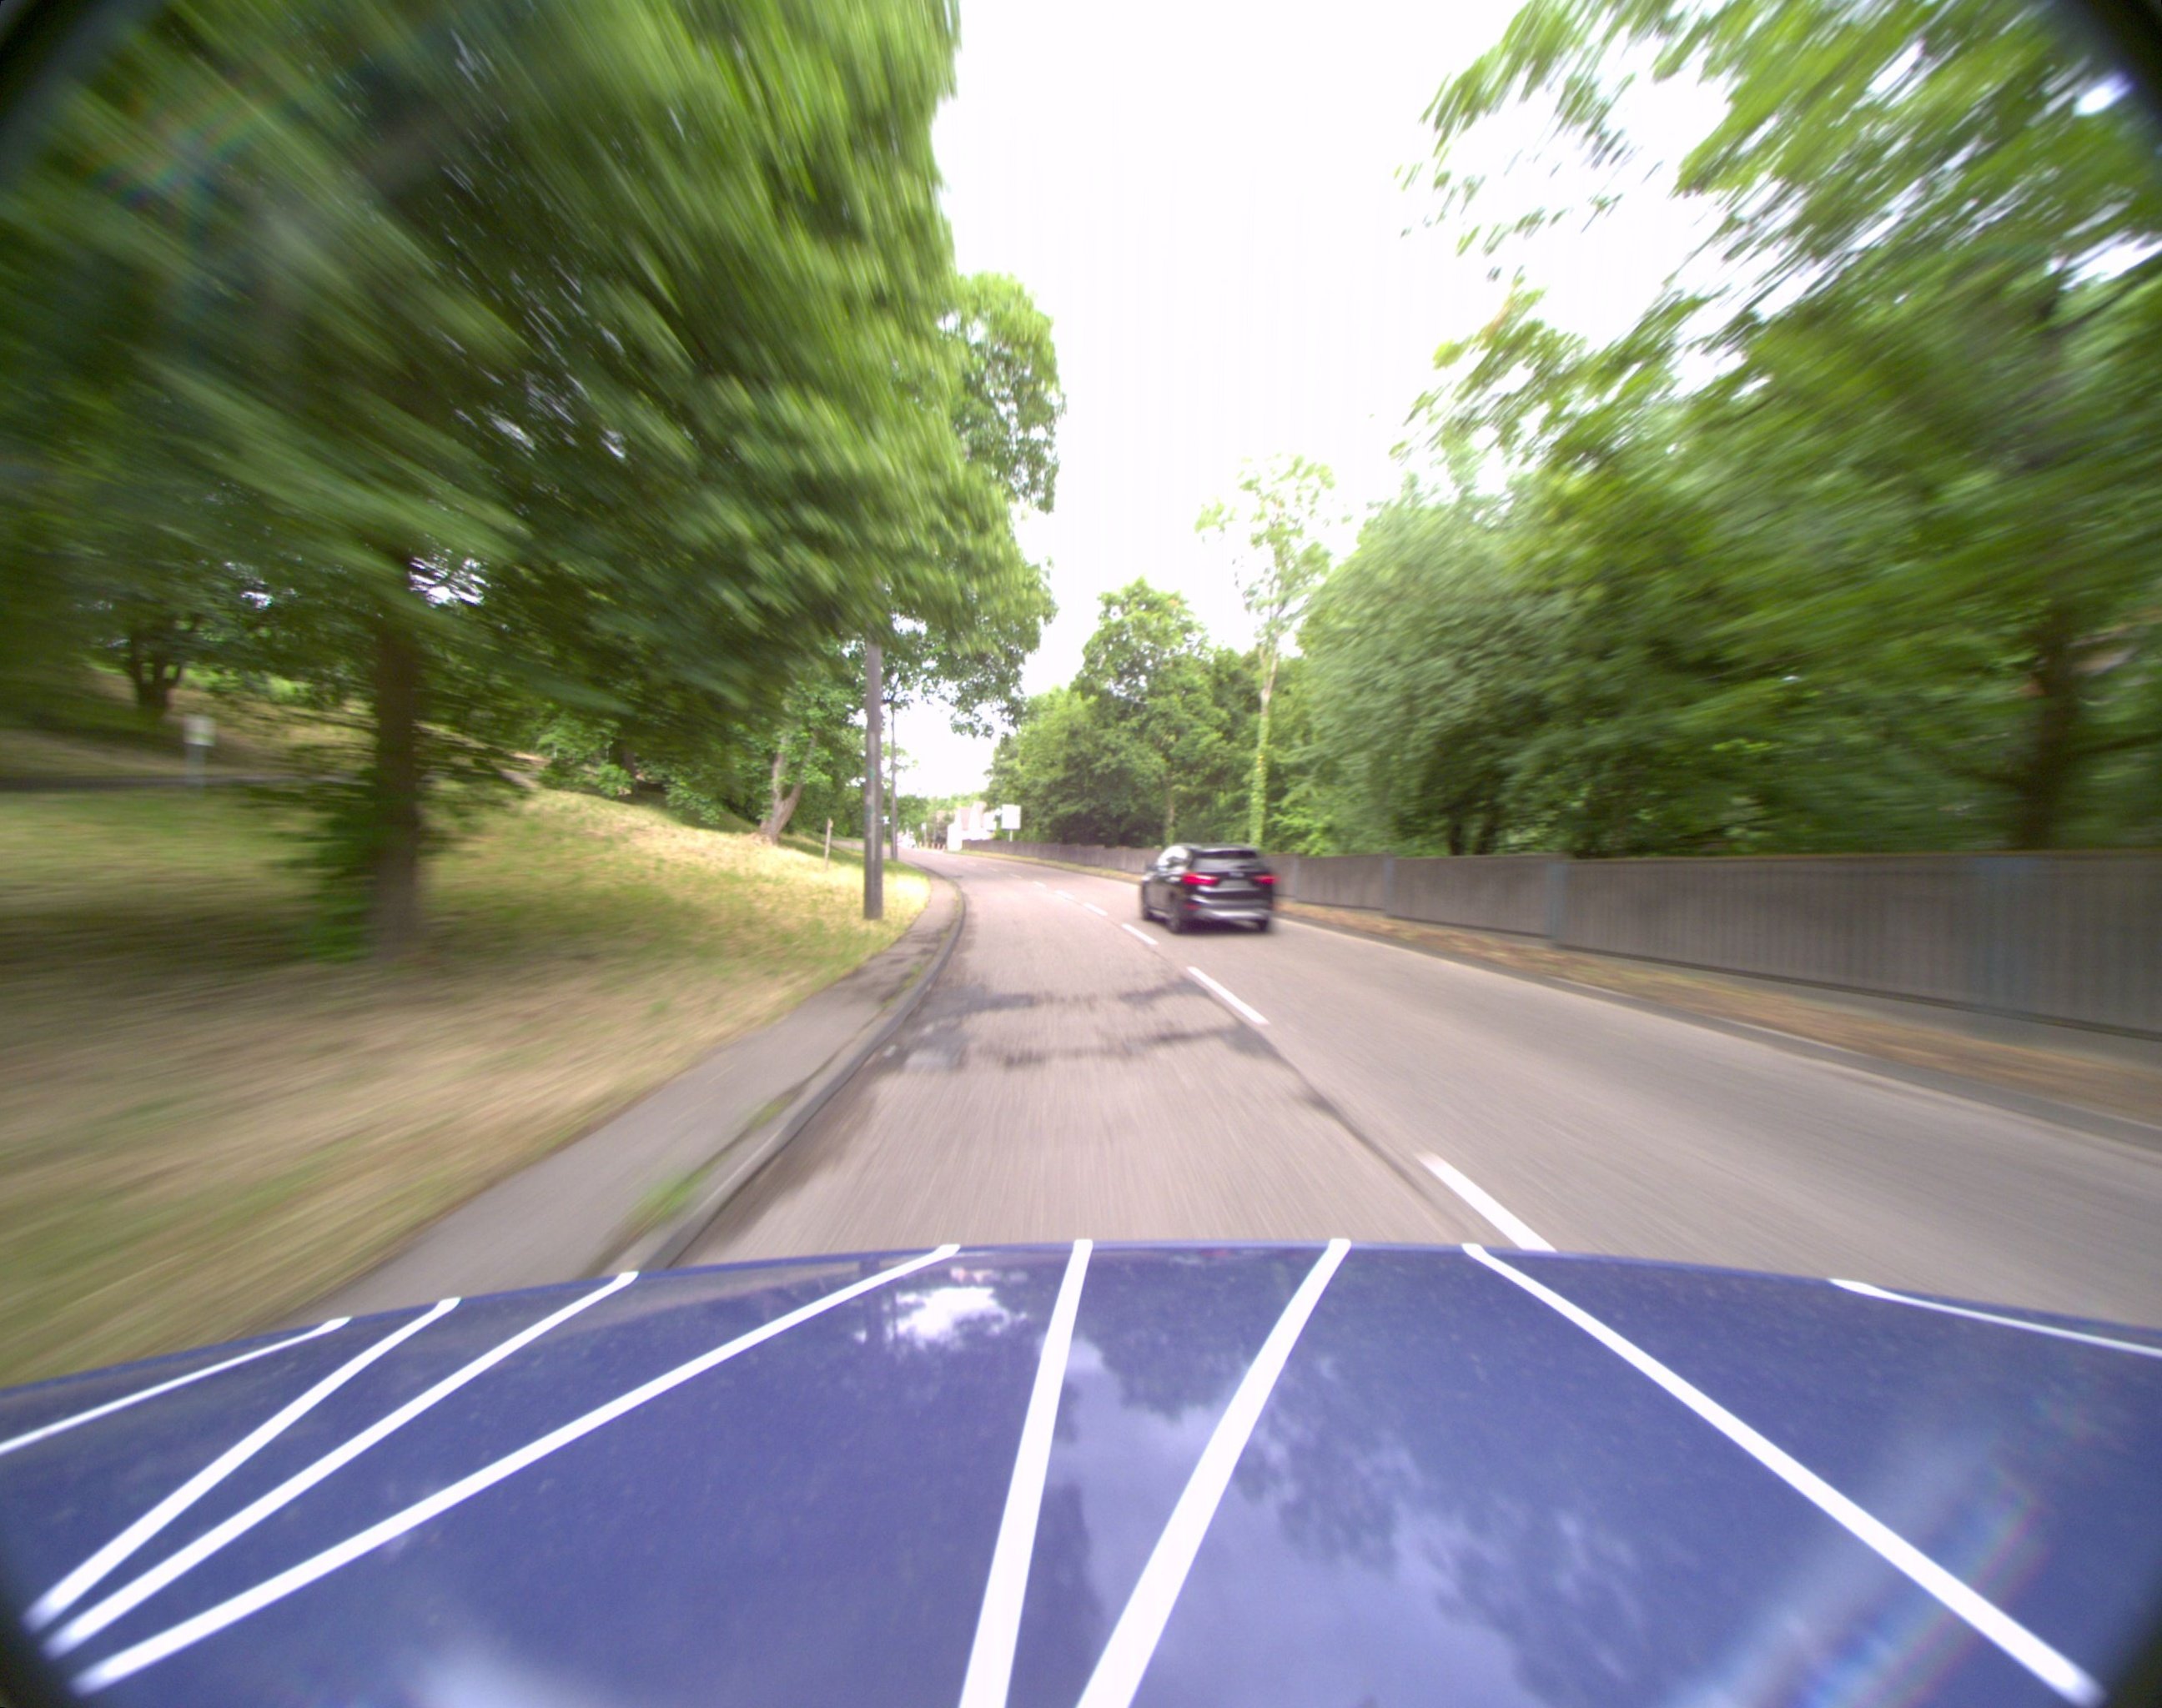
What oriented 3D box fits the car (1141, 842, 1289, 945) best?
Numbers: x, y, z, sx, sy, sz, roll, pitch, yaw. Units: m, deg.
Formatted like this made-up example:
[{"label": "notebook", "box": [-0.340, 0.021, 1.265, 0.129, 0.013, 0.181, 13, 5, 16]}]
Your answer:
[{"label": "car", "box": [2.327, 0.614, 14.297, 1.730, 1.630, 4.052, -1, 1, -5]}]
